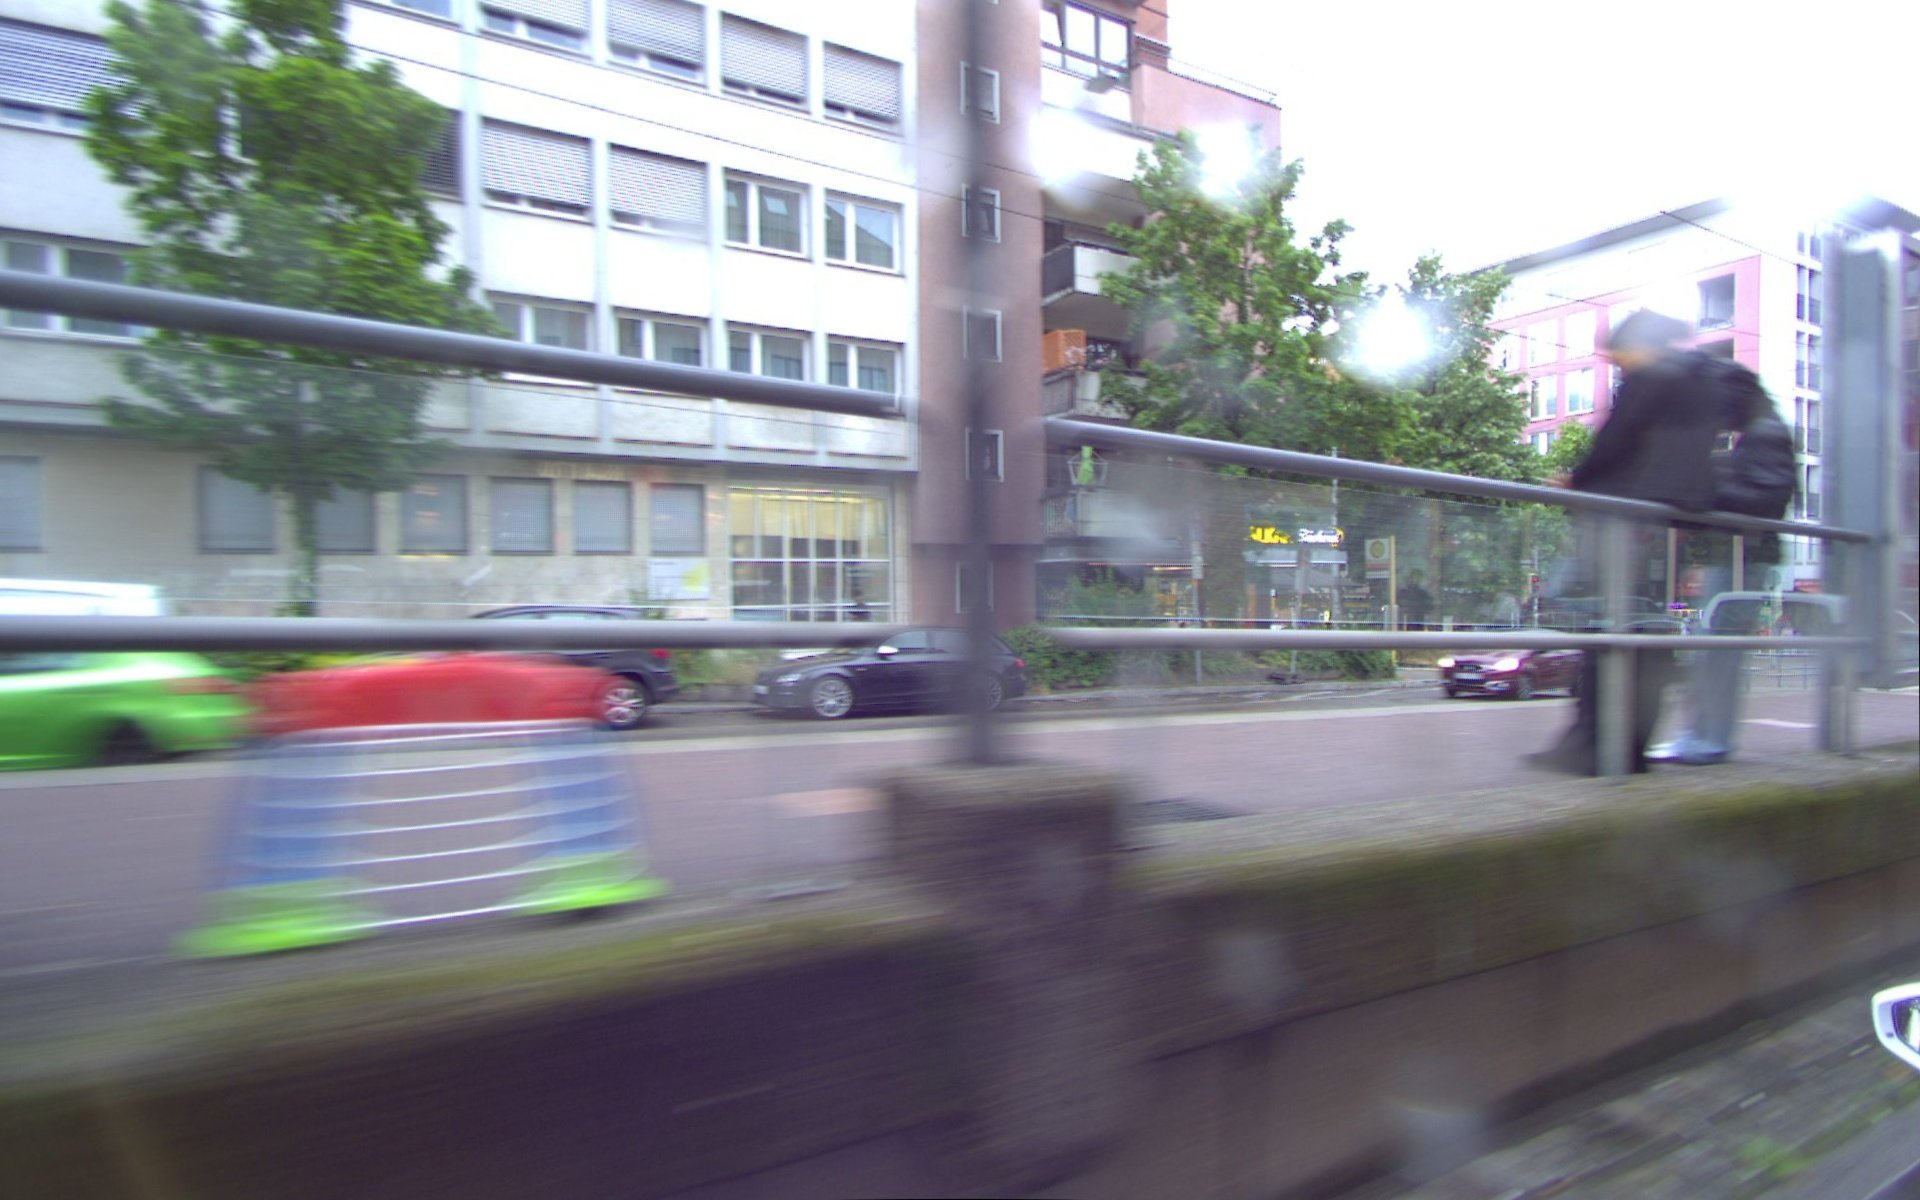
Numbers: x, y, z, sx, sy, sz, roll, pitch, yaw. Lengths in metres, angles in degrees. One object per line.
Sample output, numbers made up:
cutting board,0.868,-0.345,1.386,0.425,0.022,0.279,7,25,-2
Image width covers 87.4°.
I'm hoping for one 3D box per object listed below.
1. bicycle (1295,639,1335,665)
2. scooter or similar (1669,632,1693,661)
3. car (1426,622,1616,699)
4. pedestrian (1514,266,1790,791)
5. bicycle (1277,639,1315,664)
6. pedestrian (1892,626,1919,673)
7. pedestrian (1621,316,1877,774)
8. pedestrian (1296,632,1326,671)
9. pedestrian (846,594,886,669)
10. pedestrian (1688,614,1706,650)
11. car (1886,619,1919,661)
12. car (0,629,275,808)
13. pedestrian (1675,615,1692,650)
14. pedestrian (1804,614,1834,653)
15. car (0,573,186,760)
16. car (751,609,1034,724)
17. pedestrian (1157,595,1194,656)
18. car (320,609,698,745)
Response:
bicycle,12.956,1.899,36.642,1.626,0.923,0.338,1,-1,-28
scooter or similar,30.853,1.985,42.984,1.197,1.207,0.387,1,-1,-29
car,12.074,1.250,21.530,4.482,1.481,1.682,2,-1,-33
pedestrian,2.435,-0.212,3.550,0.693,1.630,0.580,1,-1,-32
bicycle,12.523,1.905,37.440,1.626,0.915,0.338,1,-1,-28
pedestrian,34.884,1.811,36.706,0.792,1.653,0.882,-1,1,-3
pedestrian,3.046,-0.180,3.891,0.693,1.578,0.580,1,-1,-32
pedestrian,11.153,1.624,31.911,0.600,1.193,0.674,1,-1,-24
pedestrian,-2.010,0.673,21.537,0.579,1.578,0.694,1,-1,-36
pedestrian,34.995,1.519,47.671,0.535,1.653,0.574,2,1,24
car,39.258,1.575,40.340,4.497,1.633,1.719,0,-1,-29
car,-7.995,0.935,8.364,3.695,1.356,1.629,2,-1,-33
pedestrian,34.733,1.540,48.232,0.570,1.653,0.609,2,1,34
pedestrian,38.807,1.501,45.385,0.977,1.720,0.813,1,1,-38
car,-11.176,0.643,10.096,5.204,1.869,1.895,2,-1,-34
car,-1.040,1.016,16.294,4.319,1.645,1.631,1,-1,-30
pedestrian,5.840,0.696,27.219,0.808,1.617,0.556,1,-1,-29
car,-5.833,0.937,13.293,4.319,1.556,1.631,1,-1,-30
